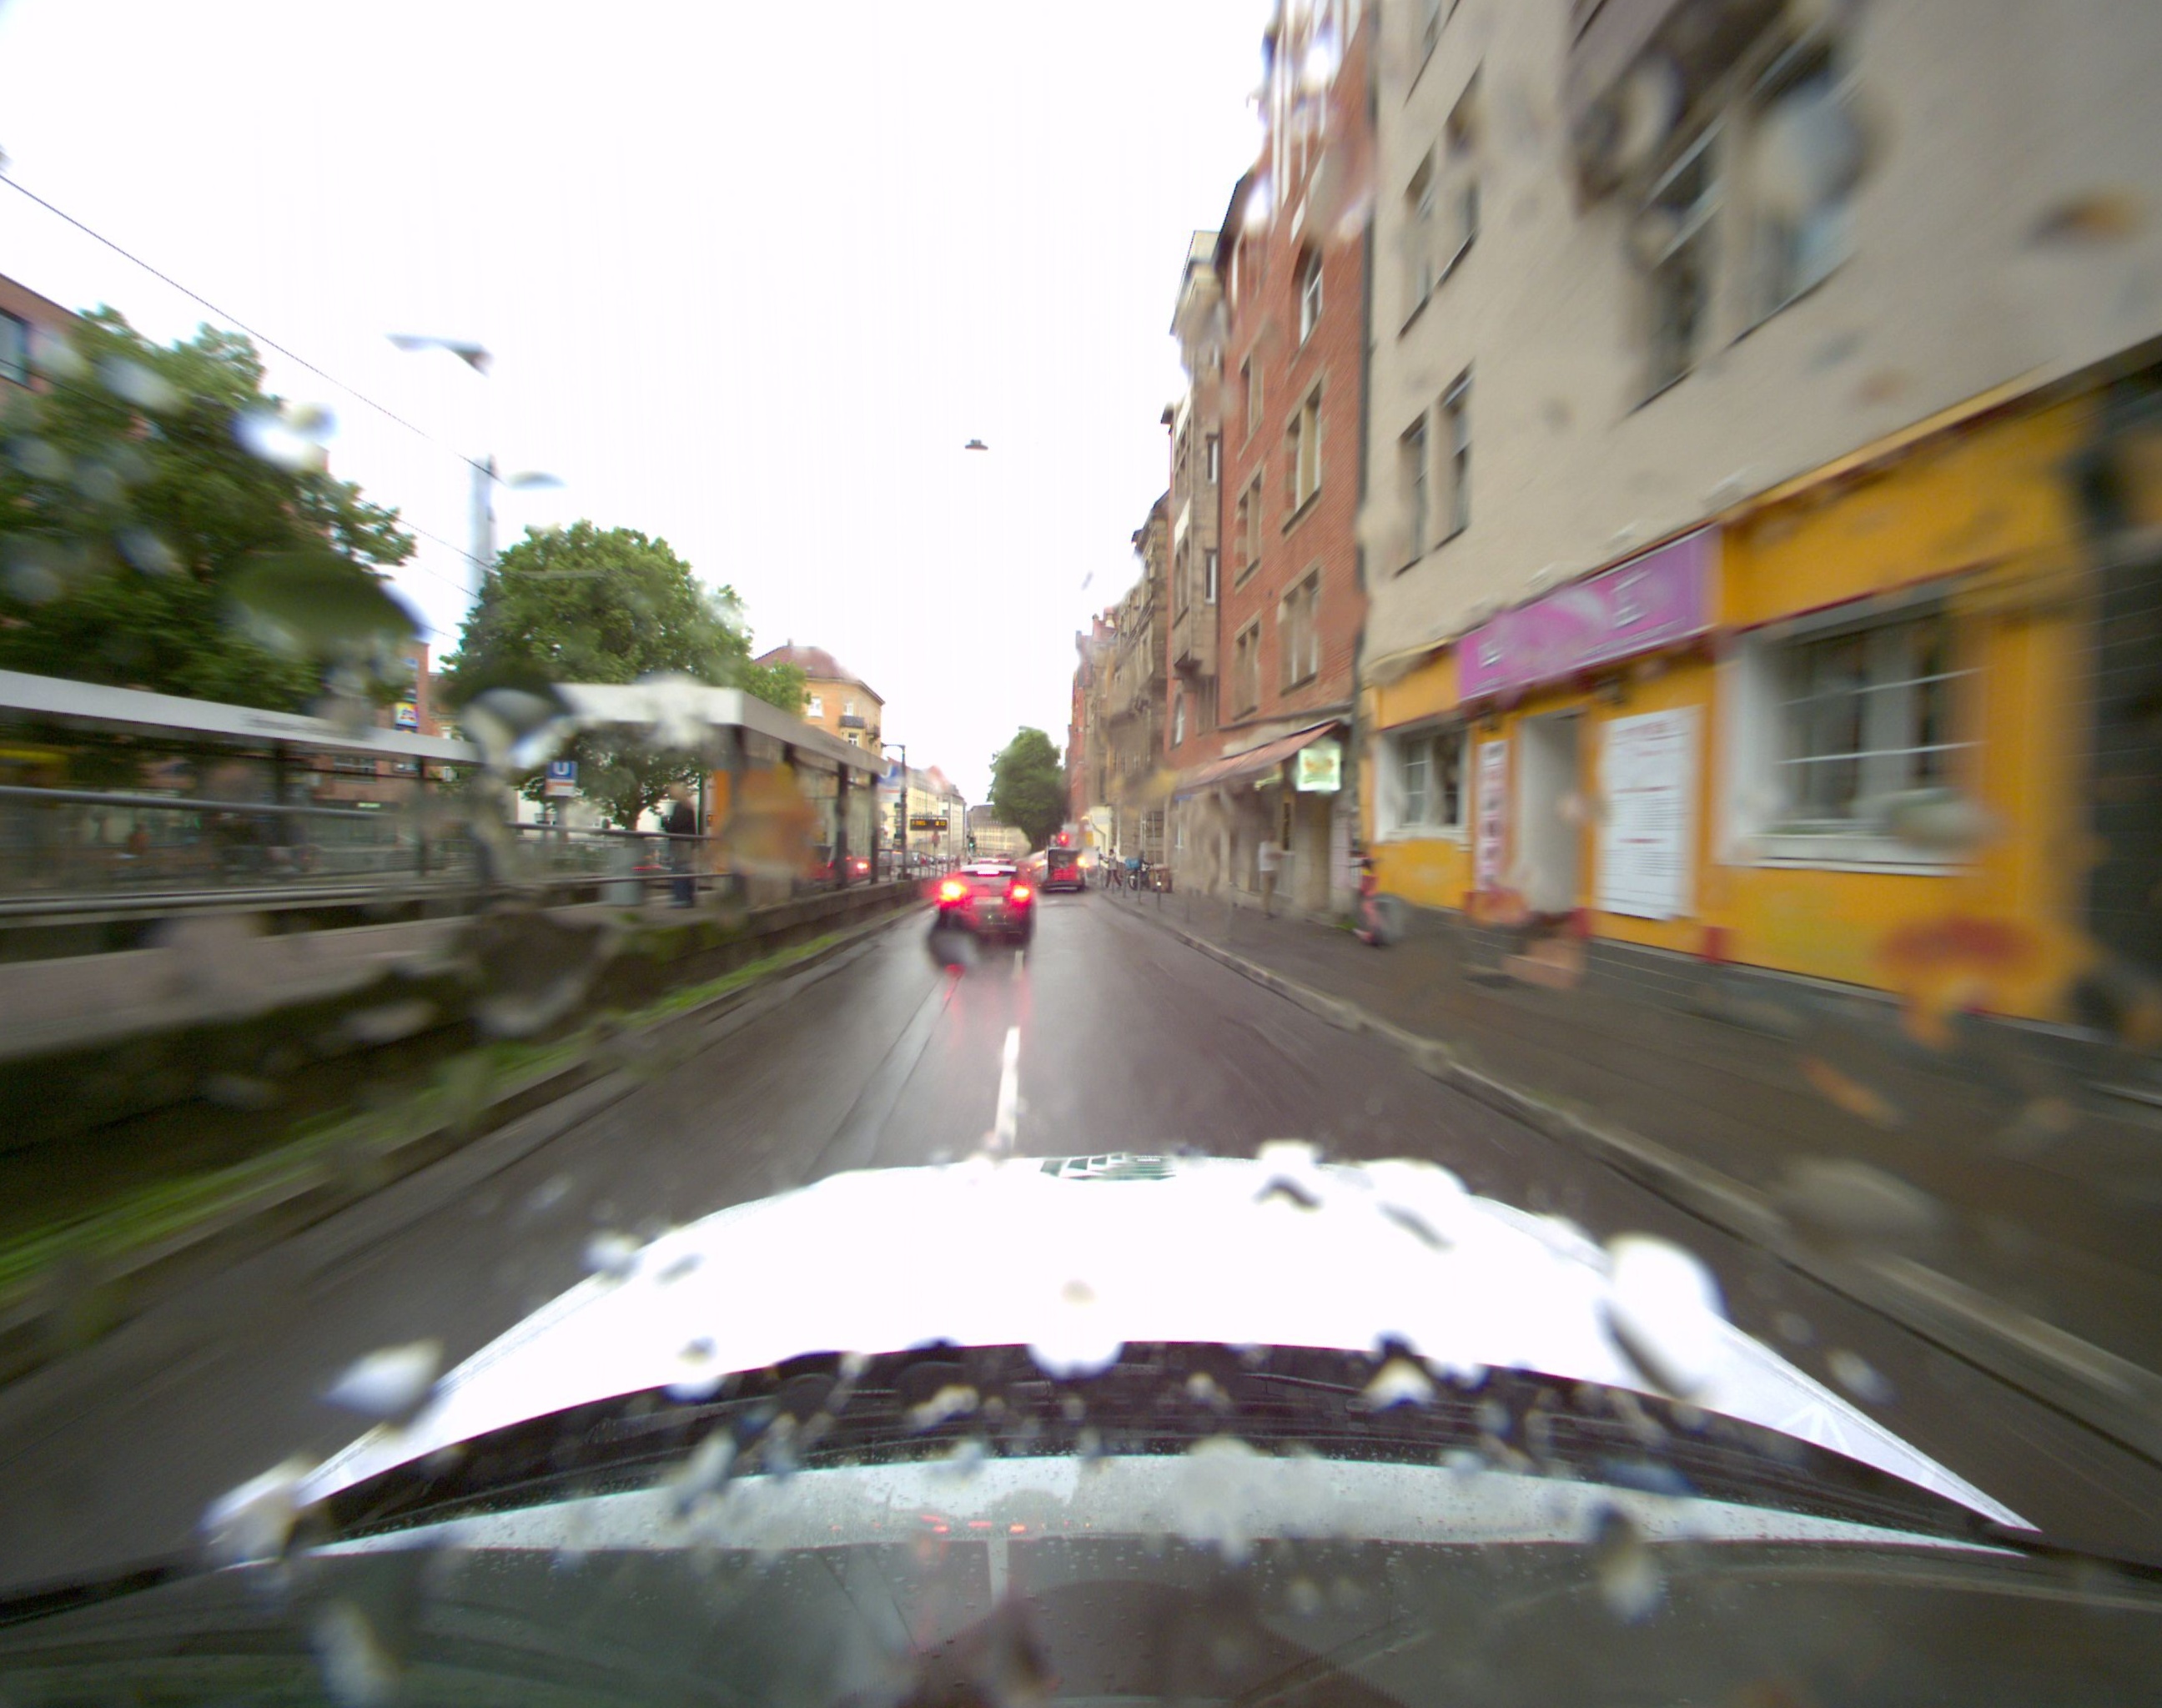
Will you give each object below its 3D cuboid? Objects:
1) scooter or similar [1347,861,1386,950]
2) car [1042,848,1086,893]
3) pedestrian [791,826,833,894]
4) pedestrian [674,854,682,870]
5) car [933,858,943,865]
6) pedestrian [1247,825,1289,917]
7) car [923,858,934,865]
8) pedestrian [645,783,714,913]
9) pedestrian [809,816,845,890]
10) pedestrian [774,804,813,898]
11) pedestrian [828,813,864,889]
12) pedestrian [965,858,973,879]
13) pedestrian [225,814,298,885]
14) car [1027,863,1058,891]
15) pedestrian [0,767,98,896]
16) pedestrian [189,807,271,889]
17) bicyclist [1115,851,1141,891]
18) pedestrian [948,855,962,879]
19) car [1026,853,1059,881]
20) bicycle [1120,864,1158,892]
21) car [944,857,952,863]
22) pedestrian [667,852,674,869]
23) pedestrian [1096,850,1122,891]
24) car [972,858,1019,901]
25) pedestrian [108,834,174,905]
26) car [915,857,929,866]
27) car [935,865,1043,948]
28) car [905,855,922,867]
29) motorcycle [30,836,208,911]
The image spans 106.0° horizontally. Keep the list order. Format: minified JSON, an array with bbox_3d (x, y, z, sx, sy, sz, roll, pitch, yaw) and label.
[{"bbox_3d":[4.152,0.716,11.885,0.256,1.222,1.196,1,0,5],"label":"scooter or similar"},{"bbox_3d":[-0.838,0.728,38.054,1.916,1.936,4.680,0,0,-3],"label":"car"},{"bbox_3d":[-4.991,0.111,15.141,0.612,1.227,0.507,0,0,-1],"label":"pedestrian"},{"bbox_3d":[-40.233,0.786,81.310,0.521,1.622,0.480,1,0,-44],"label":"pedestrian"},{"bbox_3d":[-25.595,1.290,146.042,1.392,1.171,3.157,0,0,-4],"label":"car"},{"bbox_3d":[3.844,0.355,16.777,0.577,1.830,0.562,-3,-1,-7],"label":"pedestrian"},{"bbox_3d":[-24.759,1.232,132.263,1.434,1.106,3.157,0,0,-4],"label":"car"},{"bbox_3d":[-5.145,-0.076,10.456,0.492,1.605,0.639,0,0,12],"label":"pedestrian"},{"bbox_3d":[-5.543,-0.026,17.811,0.612,1.581,0.507,0,0,-1],"label":"pedestrian"},{"bbox_3d":[-4.951,-0.048,14.057,0.504,1.589,0.527,0,0,-5],"label":"pedestrian"},{"bbox_3d":[-5.305,-0.067,18.410,0.612,1.688,0.587,0,0,-1],"label":"pedestrian"},{"bbox_3d":[-8.101,1.028,58.982,0.532,1.530,0.435,0,0,-12],"label":"pedestrian"},{"bbox_3d":[-14.713,-0.088,14.627,0.703,1.240,0.563,1,0,-6],"label":"pedestrian"},{"bbox_3d":[-2.237,1.319,47.817,1.708,1.469,4.278,0,0,-1],"label":"car"},{"bbox_3d":[-14.235,-0.302,11.195,0.561,1.715,0.704,1,0,-6],"label":"pedestrian"},{"bbox_3d":[-14.635,-0.102,14.021,0.776,1.362,0.563,1,0,-7],"label":"pedestrian"},{"bbox_3d":[1.937,0.706,33.886,0.854,1.657,0.625,-1,-1,-36],"label":"bicyclist"},{"bbox_3d":[-9.109,0.962,58.956,0.732,1.724,0.745,0,0,42],"label":"pedestrian"},{"bbox_3d":[-2.642,0.834,55.146,1.931,1.831,4.271,0,0,-7],"label":"car"},{"bbox_3d":[2.409,0.973,33.632,1.697,1.115,0.459,-1,-1,-38],"label":"bicycle"},{"bbox_3d":[-26.656,1.152,163.100,1.392,1.171,3.157,0,0,-4],"label":"car"},{"bbox_3d":[-40.904,0.640,81.099,0.521,1.622,0.480,1,0,-44],"label":"pedestrian"},{"bbox_3d":[1.204,0.696,35.154,0.838,1.754,0.680,-1,0,-28],"label":"pedestrian"},{"bbox_3d":[-3.241,0.933,30.909,1.678,1.489,3.605,0,0,-6],"label":"car"},{"bbox_3d":[-27.296,0.437,23.657,0.730,2.014,0.981,0,0,1],"label":"pedestrian"},{"bbox_3d":[-23.441,1.121,120.172,1.677,1.356,3.698,0,0,-4],"label":"car"},{"bbox_3d":[-1.709,0.934,16.232,1.890,1.390,3.995,0,0,-3],"label":"car"},{"bbox_3d":[-23.292,0.962,113.062,1.783,1.530,4.454,0,0,-5],"label":"car"},{"bbox_3d":[-24.341,0.491,20.667,3.032,1.816,0.991,1,0,-6],"label":"motorcycle"}]
